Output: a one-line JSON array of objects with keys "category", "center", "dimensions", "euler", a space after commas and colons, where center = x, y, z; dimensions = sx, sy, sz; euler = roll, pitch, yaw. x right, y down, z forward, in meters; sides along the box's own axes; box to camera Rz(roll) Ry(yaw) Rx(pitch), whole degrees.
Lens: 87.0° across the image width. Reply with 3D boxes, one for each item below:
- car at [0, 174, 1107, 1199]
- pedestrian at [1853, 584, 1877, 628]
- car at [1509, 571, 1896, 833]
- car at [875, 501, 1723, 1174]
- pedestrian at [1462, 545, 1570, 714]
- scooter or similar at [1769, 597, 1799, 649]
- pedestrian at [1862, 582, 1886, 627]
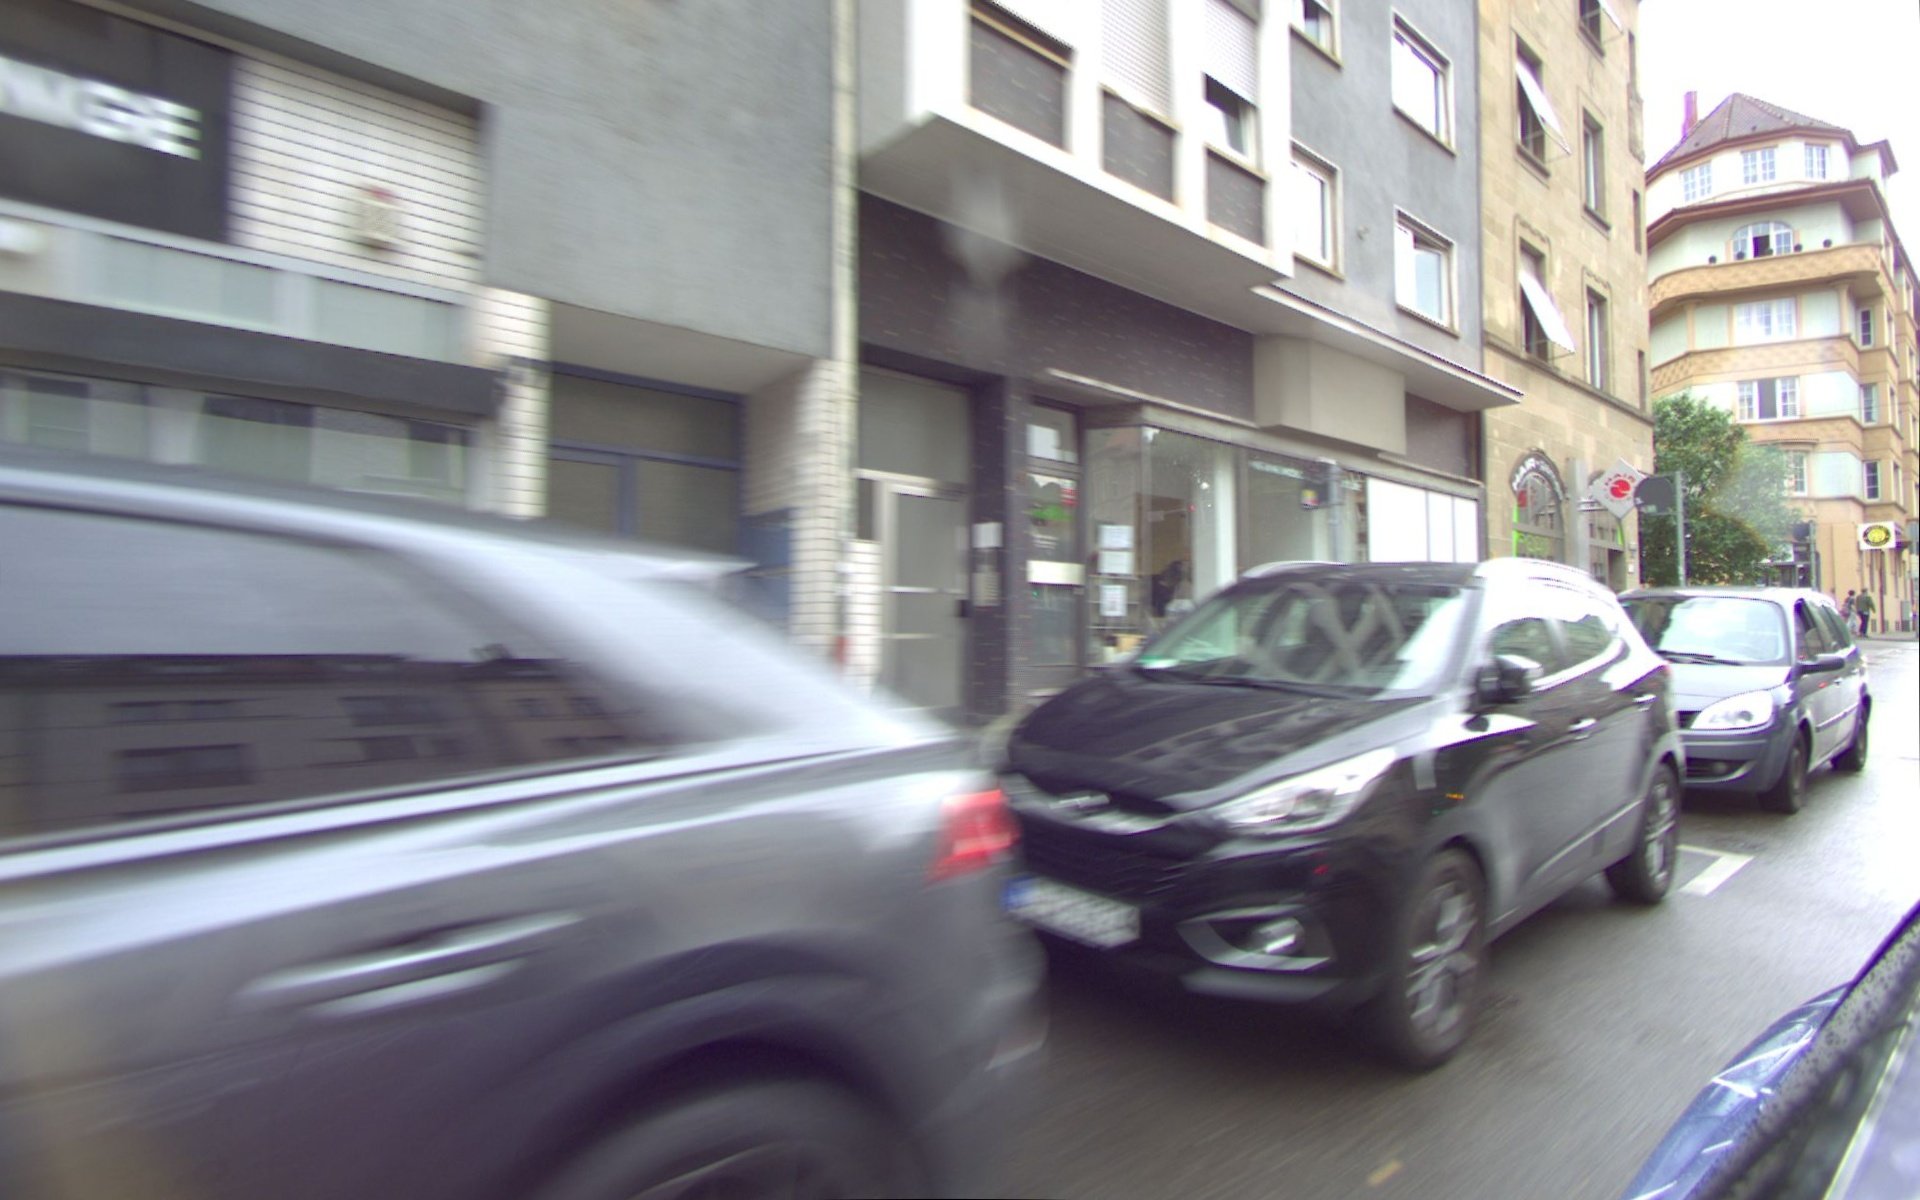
[{"category": "car", "center": [-1.981, 0.523, 1.078], "dimensions": [4.488, 1.783, 1.795], "euler": [0, -1, -42]}, {"category": "pedestrian", "center": [33.294, 0.223, 37.226], "dimensions": [0.390, 1.592, 0.578], "euler": [0, -1, -41]}, {"category": "car", "center": [6.347, 0.608, 8.431], "dimensions": [4.441, 1.634, 1.713], "euler": [0, 1, -42]}, {"category": "car", "center": [1.833, 0.564, 4.597], "dimensions": [4.177, 1.675, 1.821], "euler": [0, 1, -42]}, {"category": "pedestrian", "center": [6.402, 0.313, 11.659], "dimensions": [0.832, 1.840, 0.851], "euler": [0, 0, -41]}, {"category": "scooter or similar", "center": [19.591, 0.529, 24.067], "dimensions": [0.422, 1.193, 1.431], "euler": [-1, -1, 44]}, {"category": "pedestrian", "center": [33.215, 0.160, 36.761], "dimensions": [0.430, 1.592, 0.578], "euler": [0, -1, -42]}]
